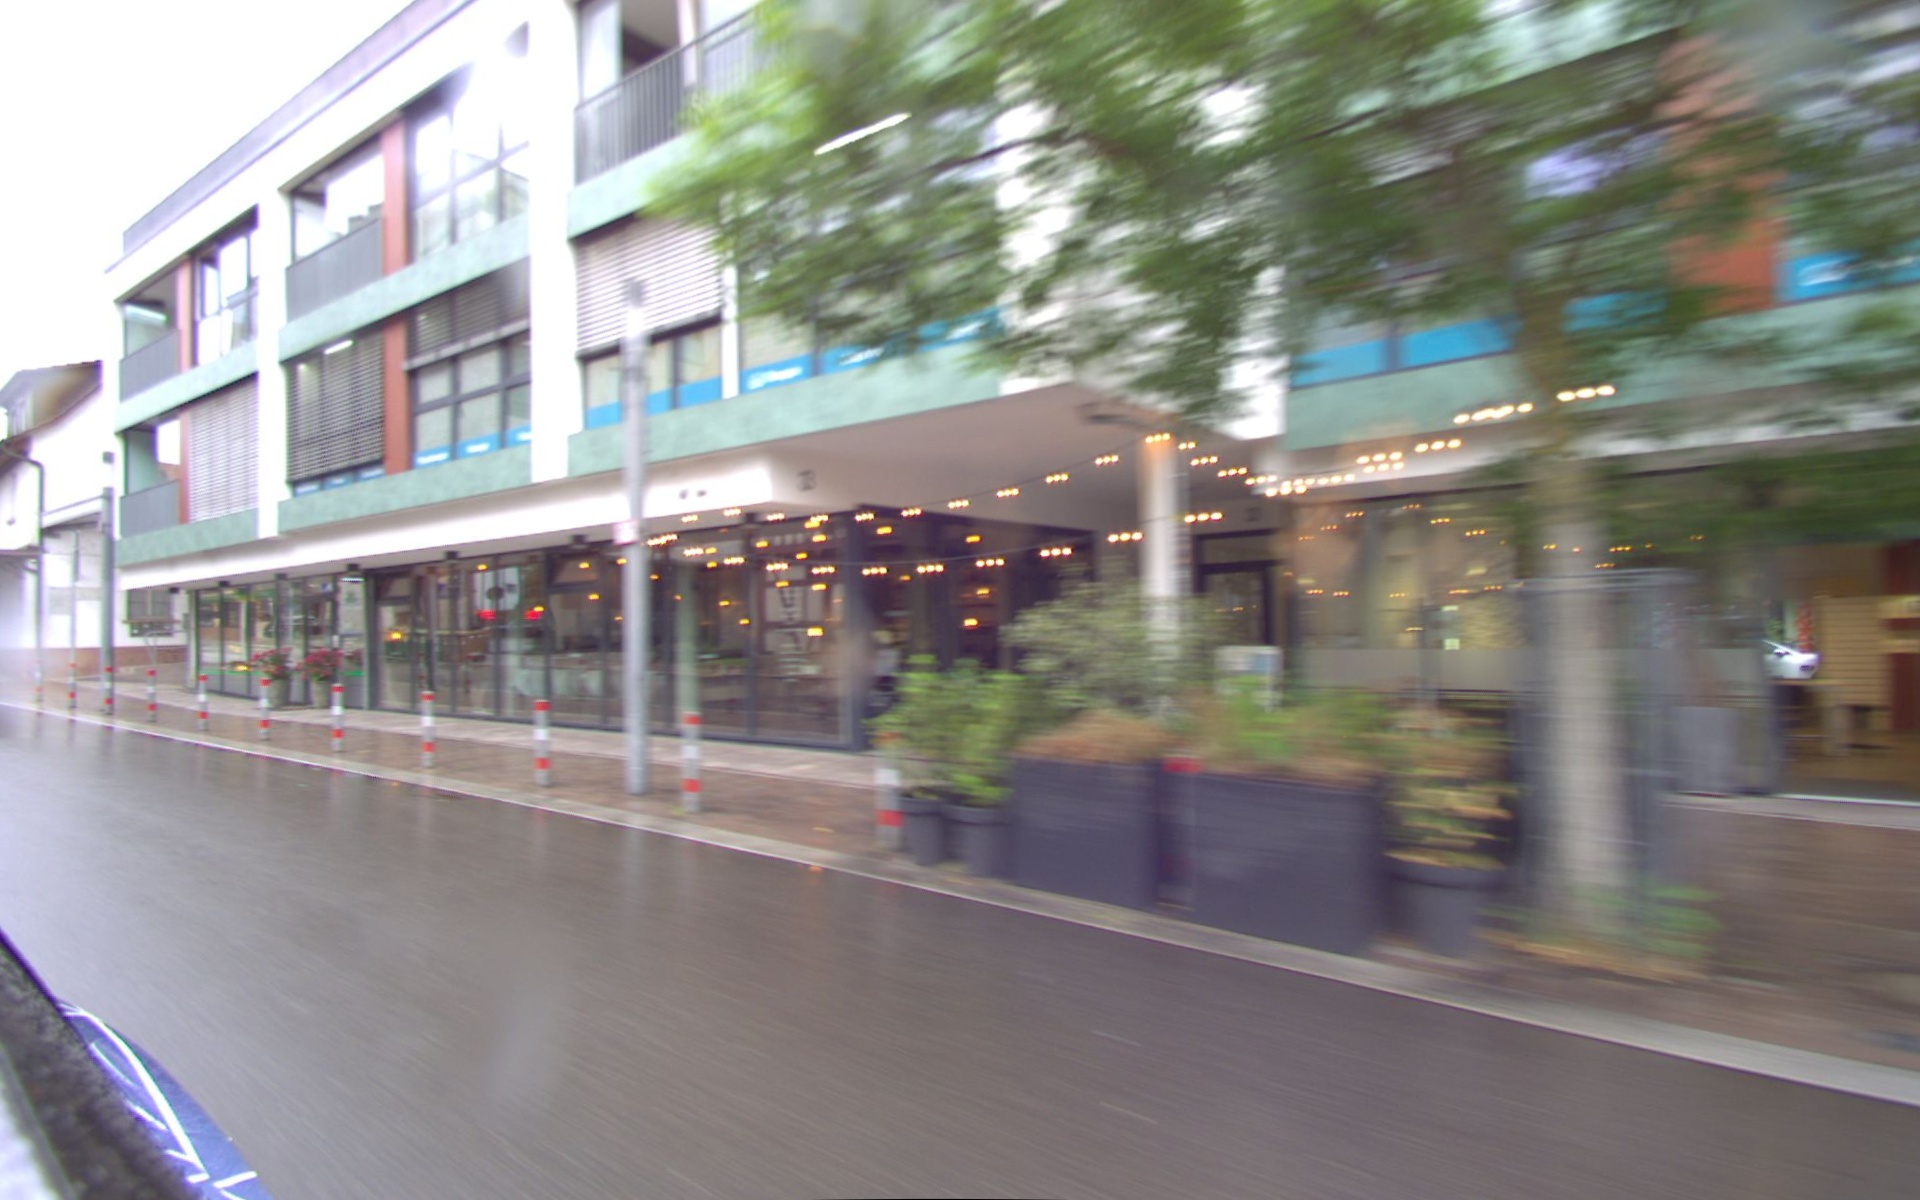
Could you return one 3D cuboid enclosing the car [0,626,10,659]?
[{"bbox_3d":[-62.062,2.628,62.728,4.416,2.029,2.004,3,-4,-38],"label":"car"}]
